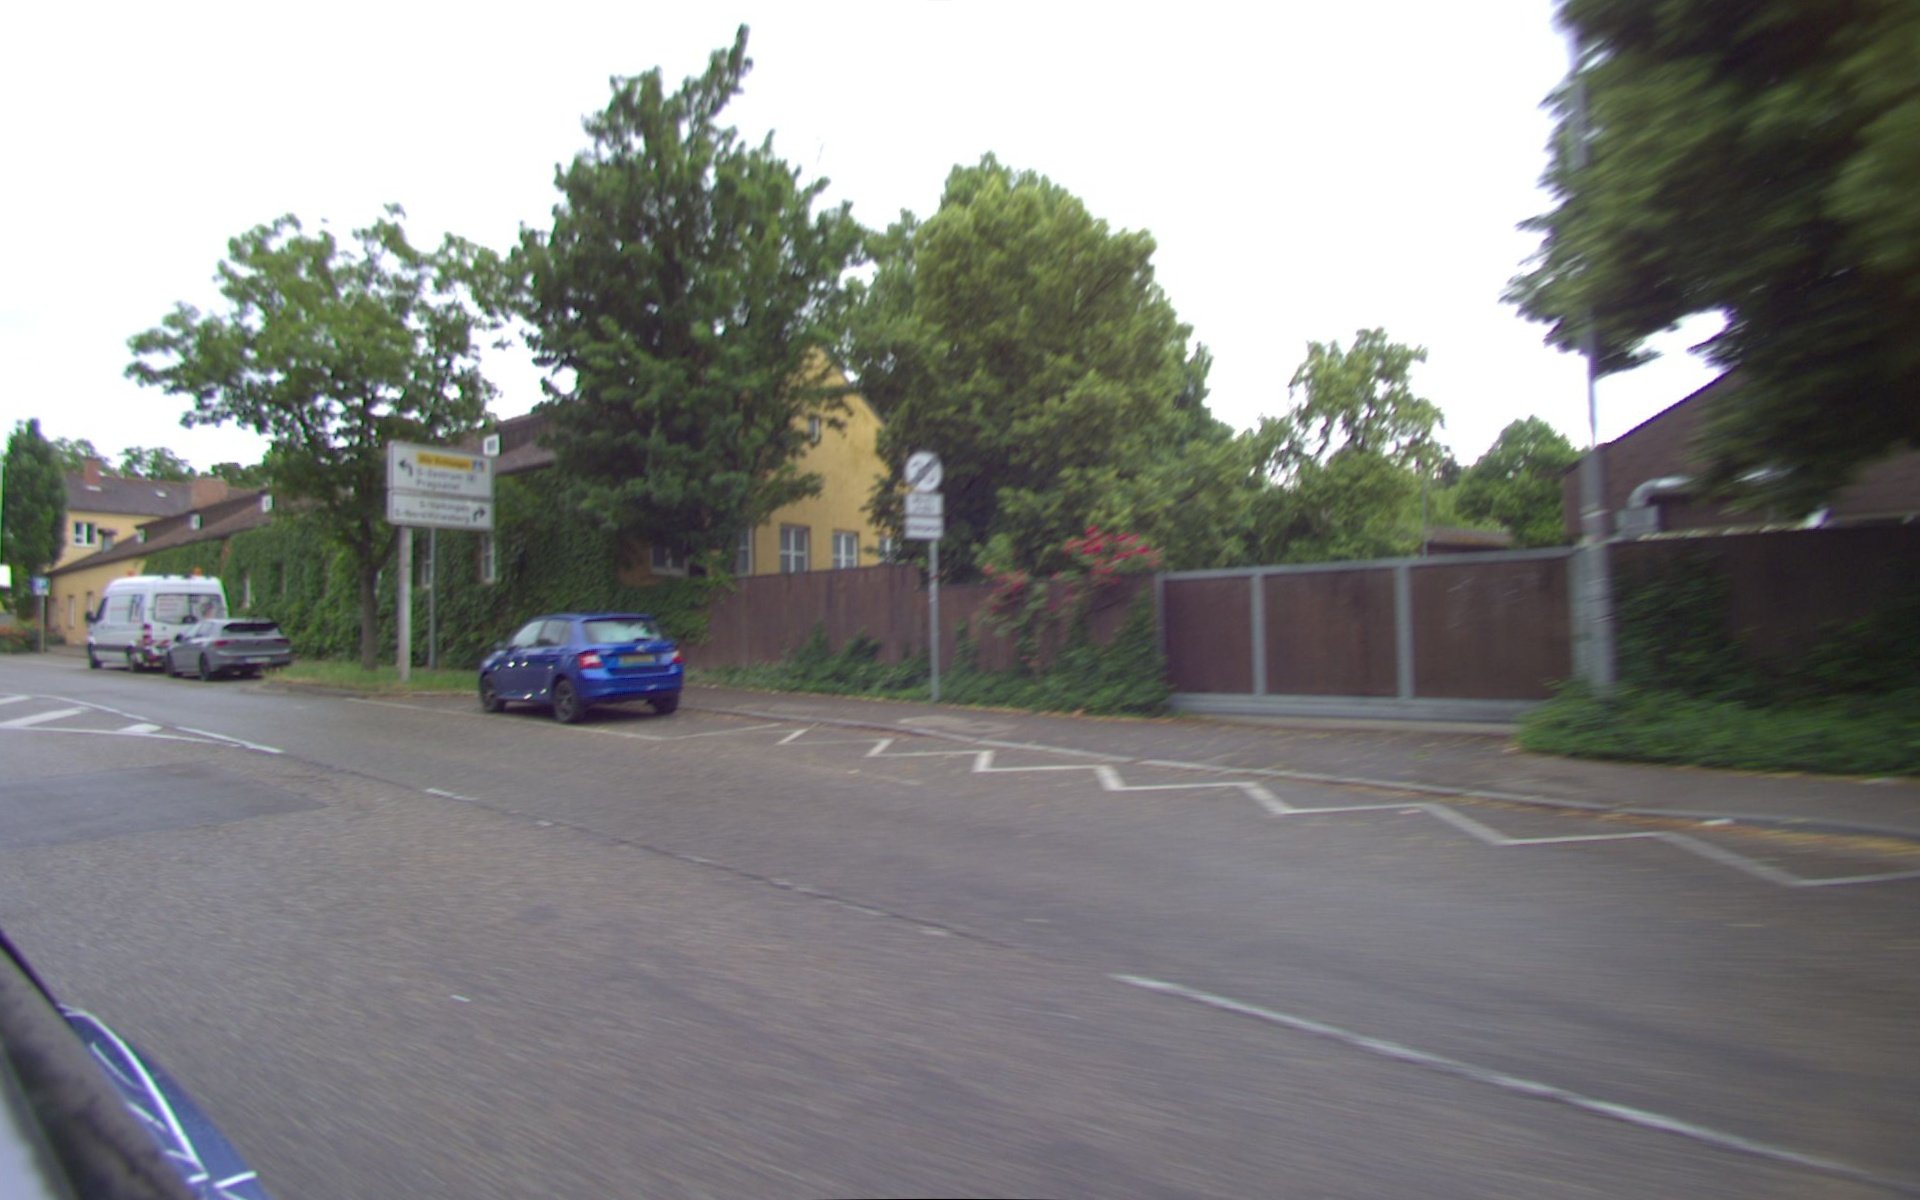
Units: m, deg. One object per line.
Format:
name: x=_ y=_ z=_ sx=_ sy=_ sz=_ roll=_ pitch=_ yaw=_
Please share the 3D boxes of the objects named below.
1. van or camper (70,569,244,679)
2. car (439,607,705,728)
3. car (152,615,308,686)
van or camper: x=-22.672 y=0.643 z=28.471 sx=6.130 sy=2.786 sz=2.319 roll=-1 pitch=0 yaw=36
car: x=-5.782 y=0.867 z=14.838 sx=4.185 sy=1.481 sz=1.972 roll=0 pitch=0 yaw=42
car: x=-17.975 y=1.163 z=24.851 sx=4.417 sy=1.524 sz=1.975 roll=0 pitch=0 yaw=38
